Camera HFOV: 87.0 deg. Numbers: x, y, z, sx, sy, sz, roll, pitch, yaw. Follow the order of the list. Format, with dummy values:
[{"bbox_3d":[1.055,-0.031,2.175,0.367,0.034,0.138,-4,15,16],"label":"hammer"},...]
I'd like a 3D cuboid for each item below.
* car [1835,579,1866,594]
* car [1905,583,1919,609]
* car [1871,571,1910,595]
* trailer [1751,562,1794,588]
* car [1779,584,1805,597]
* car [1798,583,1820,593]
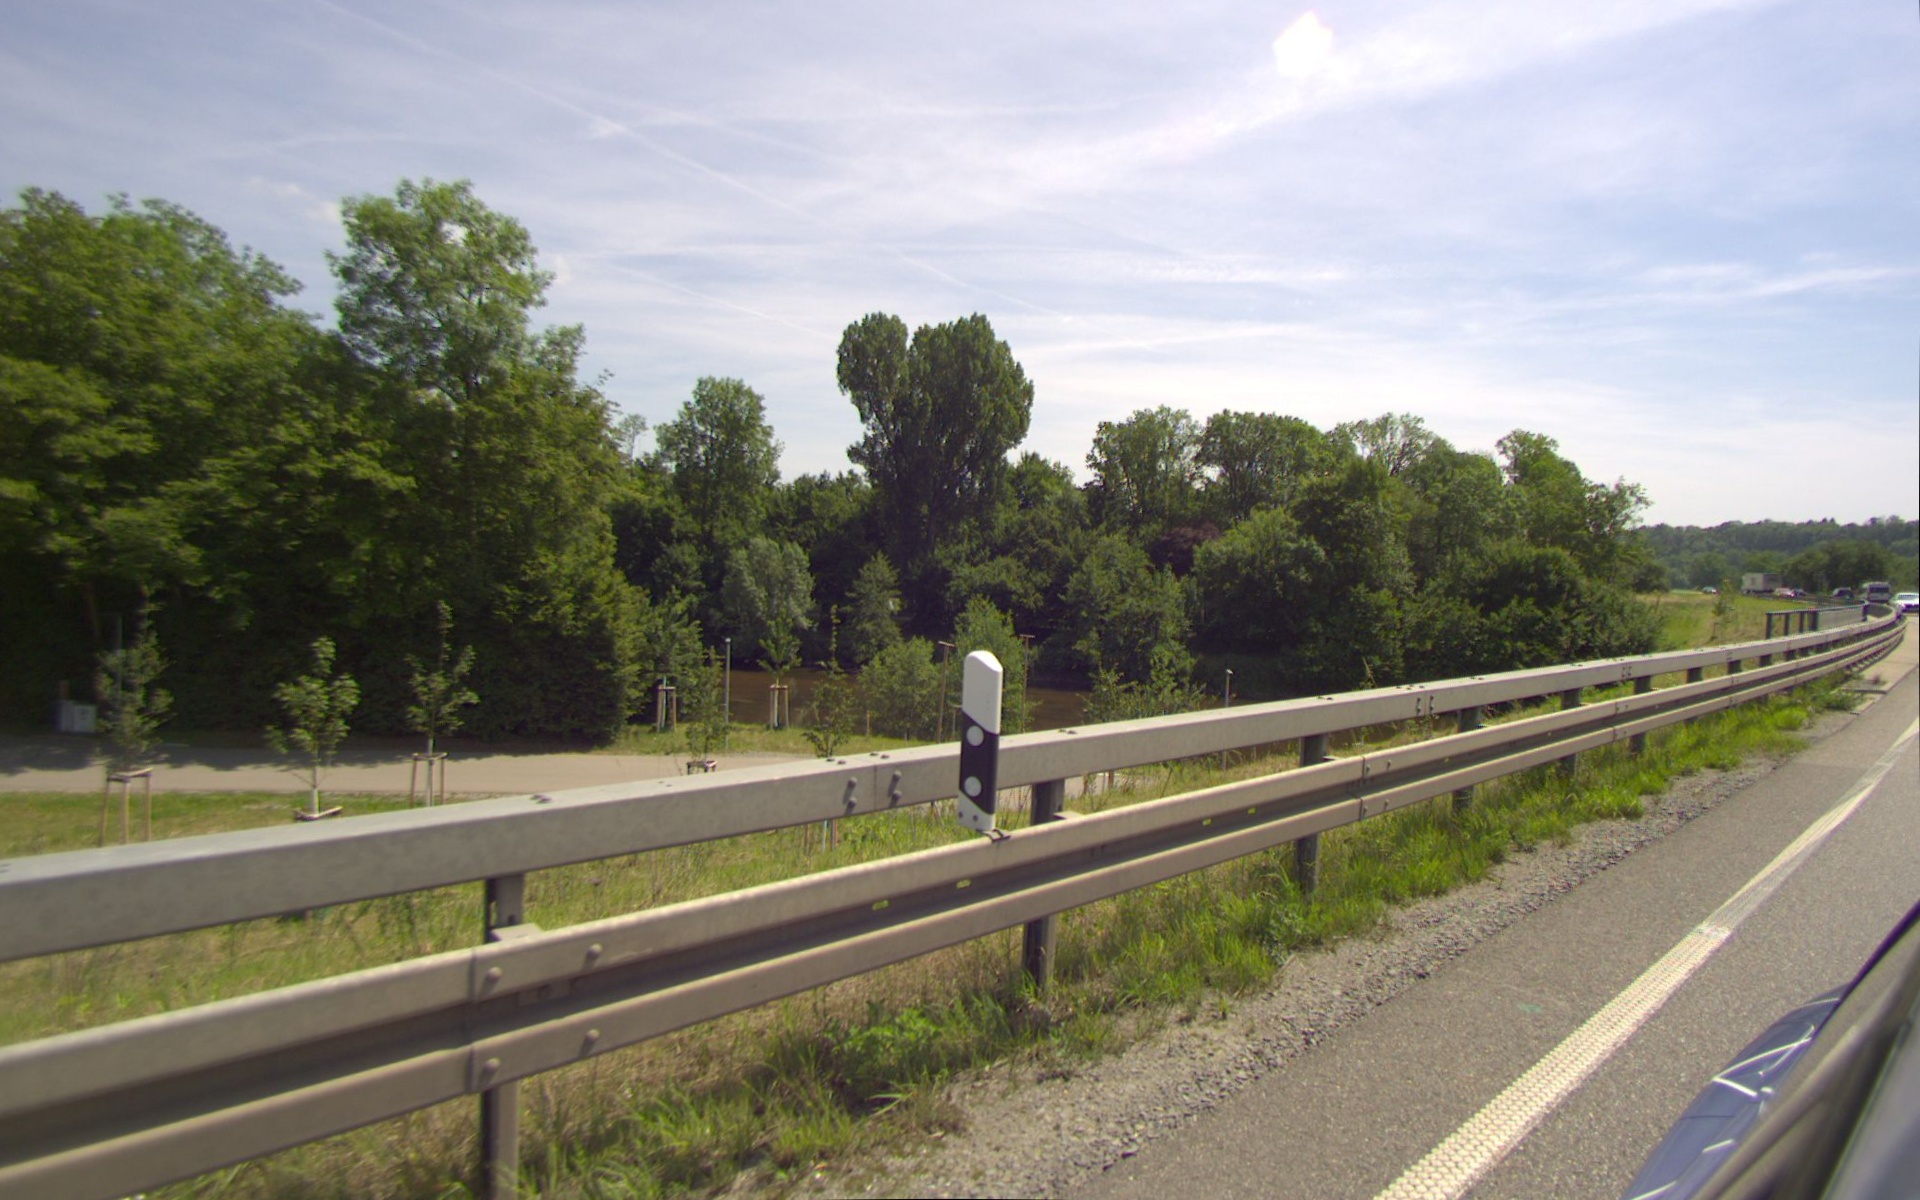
[{"bbox_3d":[114.552,-1.732,130.237,1.841,1.821,4.931,0,1,27],"label":"car"},{"bbox_3d":[70.954,-0.290,74.280,1.972,1.811,3.945,0,2,38],"label":"car"},{"bbox_3d":[104.905,-1.935,114.152,2.169,2.591,5.734,0,1,31],"label":"car"},{"bbox_3d":[139.468,-4.209,173.899,2.835,4.240,14.359,0,0,27],"label":"trailer"},{"bbox_3d":[118.273,-1.353,143.882,1.963,1.754,3.962,1,0,27],"label":"car"},{"bbox_3d":[129.868,-1.817,154.818,1.651,1.475,3.857,4,3,27],"label":"car"}]
